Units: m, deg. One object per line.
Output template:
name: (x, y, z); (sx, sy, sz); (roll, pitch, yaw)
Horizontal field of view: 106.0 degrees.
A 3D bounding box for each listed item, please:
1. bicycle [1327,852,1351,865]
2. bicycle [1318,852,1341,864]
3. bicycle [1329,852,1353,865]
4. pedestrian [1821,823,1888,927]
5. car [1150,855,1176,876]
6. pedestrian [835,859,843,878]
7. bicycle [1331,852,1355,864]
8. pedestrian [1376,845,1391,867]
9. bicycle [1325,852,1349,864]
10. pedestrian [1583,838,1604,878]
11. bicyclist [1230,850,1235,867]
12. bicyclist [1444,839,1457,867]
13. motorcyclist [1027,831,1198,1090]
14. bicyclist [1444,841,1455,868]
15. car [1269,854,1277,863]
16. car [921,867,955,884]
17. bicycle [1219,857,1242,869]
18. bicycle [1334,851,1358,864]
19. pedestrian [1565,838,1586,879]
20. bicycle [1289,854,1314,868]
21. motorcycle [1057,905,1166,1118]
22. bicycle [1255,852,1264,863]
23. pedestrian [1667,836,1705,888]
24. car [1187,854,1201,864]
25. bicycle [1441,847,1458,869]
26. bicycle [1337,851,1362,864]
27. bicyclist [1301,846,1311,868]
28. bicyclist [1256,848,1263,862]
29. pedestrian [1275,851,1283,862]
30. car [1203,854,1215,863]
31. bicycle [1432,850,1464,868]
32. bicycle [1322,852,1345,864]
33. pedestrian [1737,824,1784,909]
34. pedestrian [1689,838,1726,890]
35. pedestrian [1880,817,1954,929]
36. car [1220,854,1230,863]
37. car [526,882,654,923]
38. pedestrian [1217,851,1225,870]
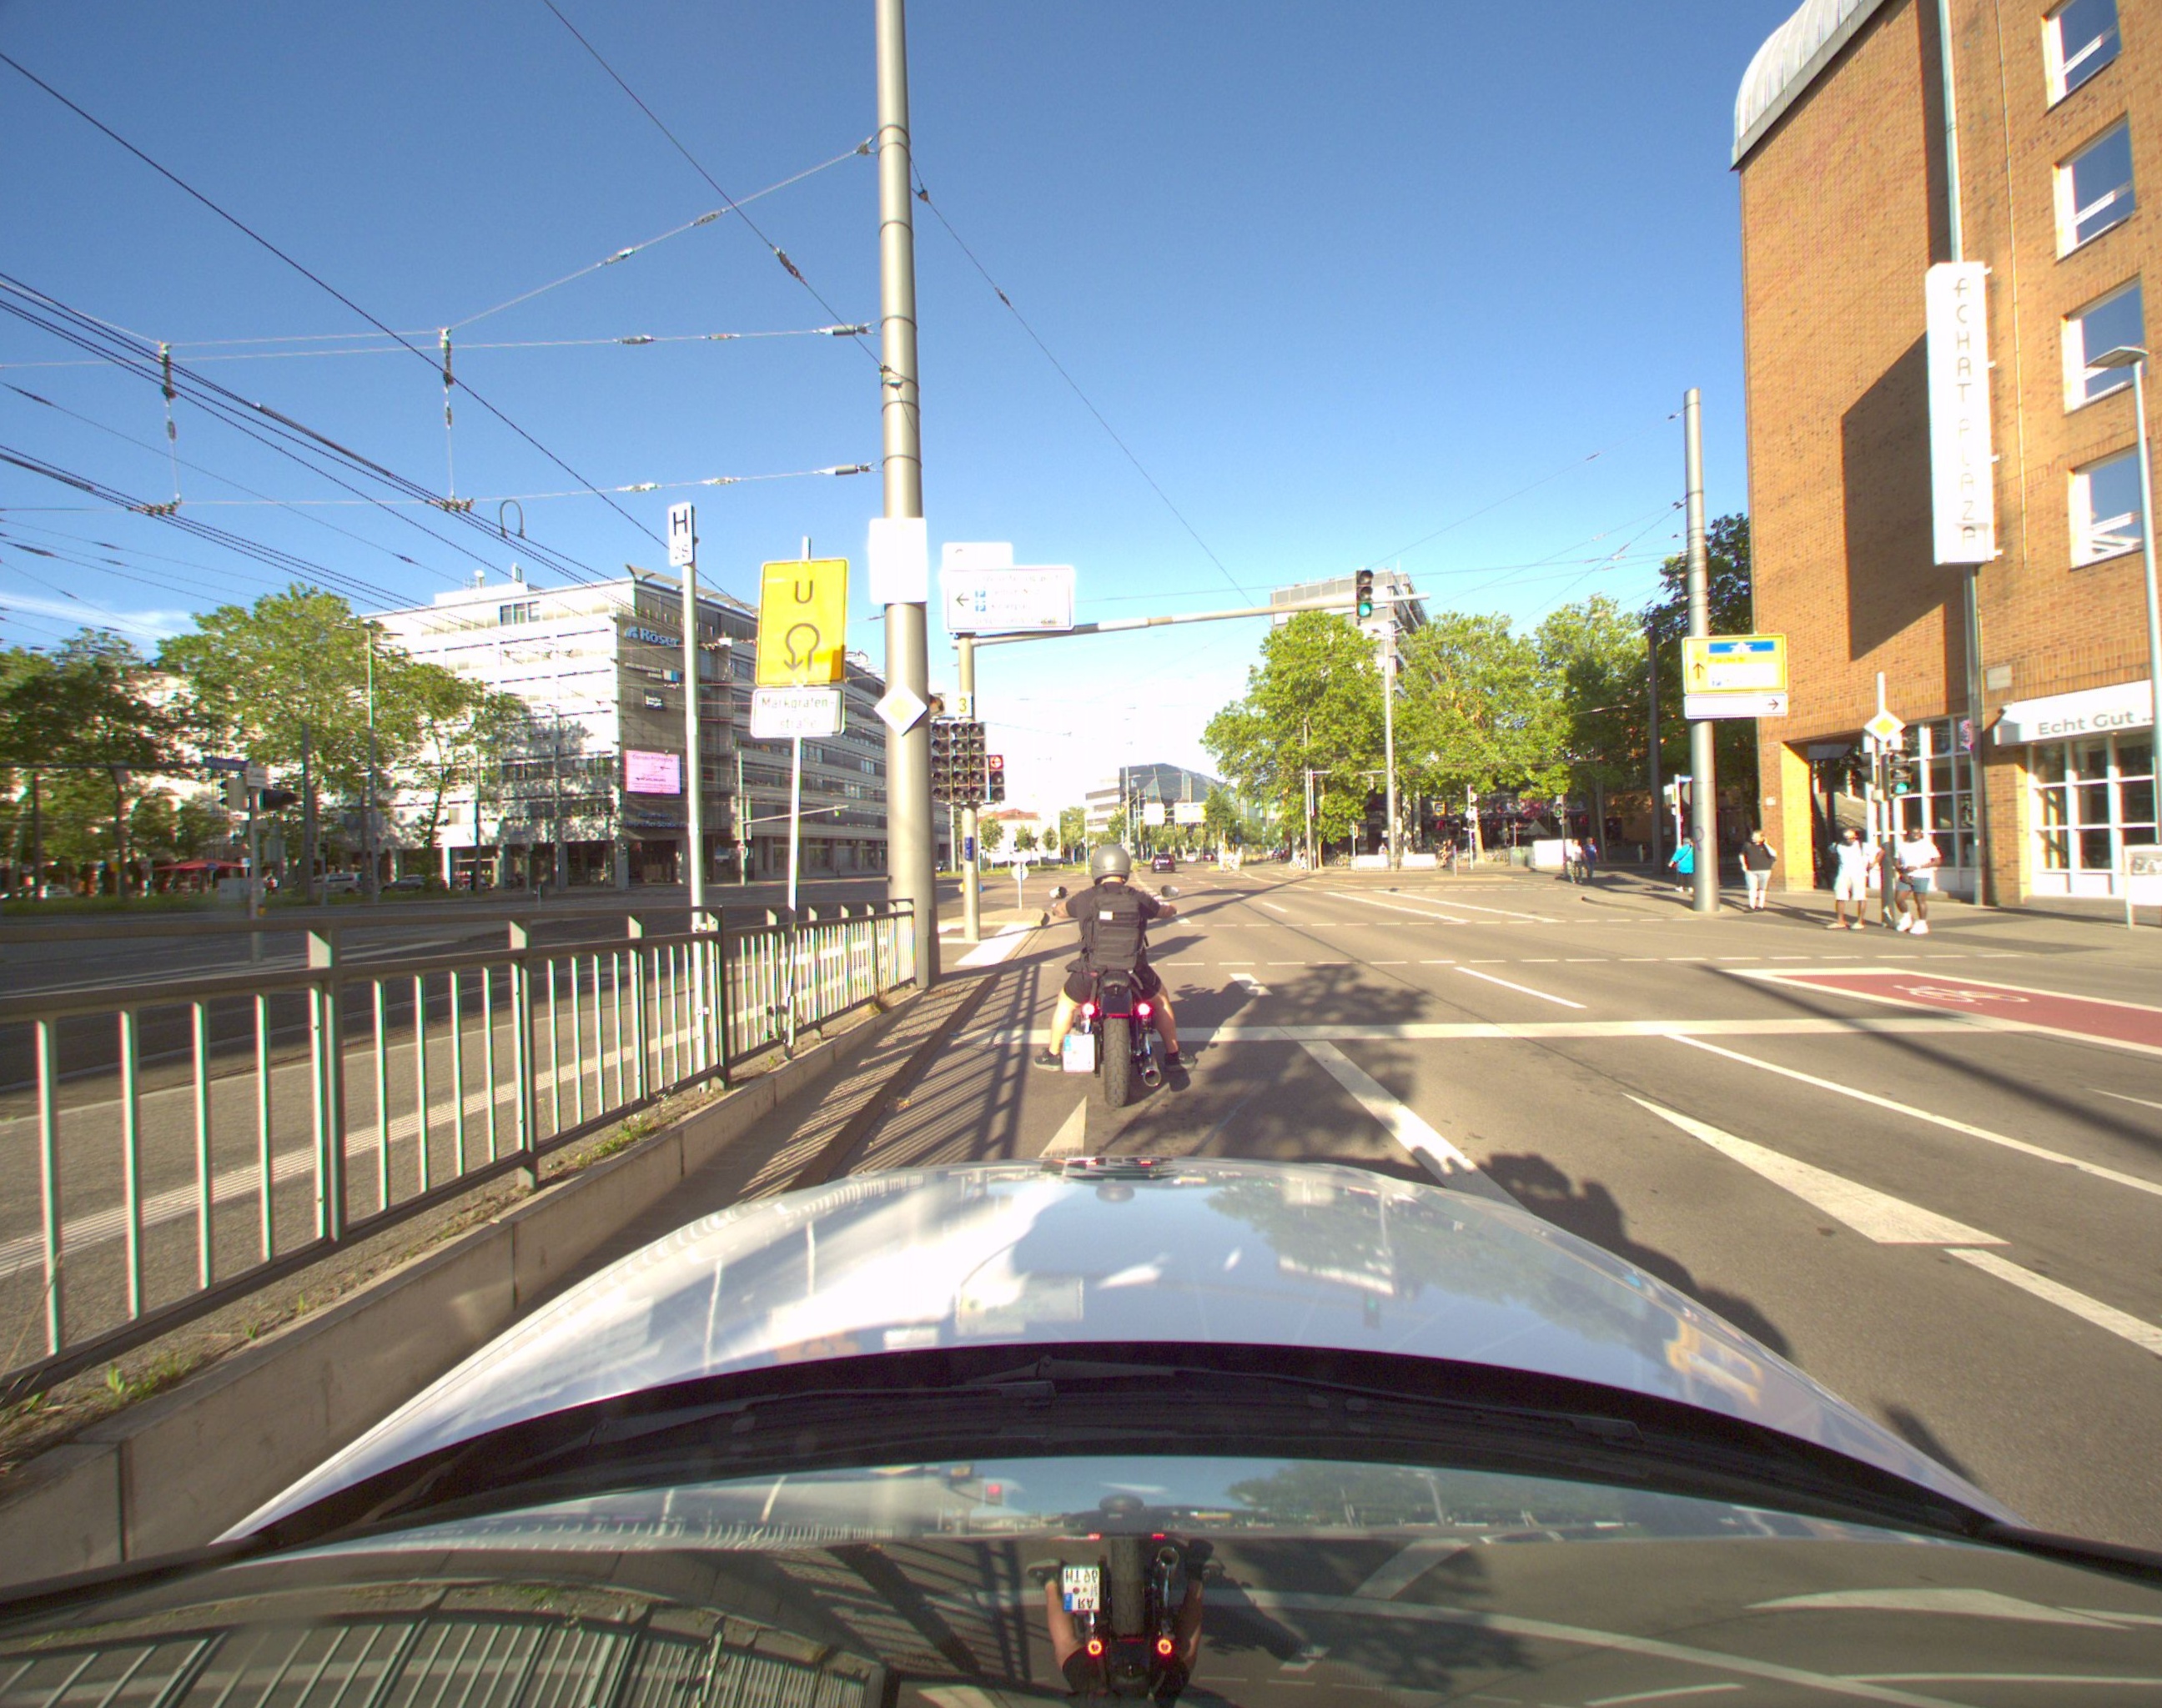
bicycle: (21.589, 0.356, 68.165); (1.874, 1.046, 0.360); (0, -1, 1)
bicycle: (21.421, 0.356, 70.304); (1.874, 1.046, 0.360); (0, 0, 1)
bicycle: (21.586, 0.348, 67.533); (1.874, 1.046, 0.360); (0, 0, 1)
pedestrian: (13.632, 0.370, 14.365); (0.587, 1.780, 0.685); (-3, -1, 24)
car: (6.720, 0.922, 66.638); (1.793, 1.595, 4.464); (-2, 0, 9)
pedestrian: (-25.855, 1.568, 86.936); (0.628, 2.014, 0.754); (0, -1, 2)
bicycle: (21.573, 0.329, 66.976); (1.874, 1.046, 0.360); (0, -1, 1)
pedestrian: (23.212, 0.180, 62.529); (0.829, 1.704, 0.760); (0, -1, 2)
bicycle: (21.598, 0.350, 68.651); (1.874, 1.046, 0.360); (0, 0, 1)
pedestrian: (19.282, 0.164, 30.649); (0.561, 1.479, 0.706); (-1, -1, 22)
bicyclist: (12.465, 0.392, 66.985); (0.380, 1.373, 0.344); (0, -1, -7)
bicyclist: (20.871, -0.054, 46.026); (0.561, 1.519, 0.636); (-1, -1, 17)
motorcyclist: (0.210, 0.666, 5.521); (1.027, 1.593, 0.874); (-2, 0, 1)
bicyclist: (25.389, 0.039, 56.137); (0.582, 1.837, 0.403); (0, -1, 1)
car: (39.772, 0.881, 168.868); (1.519, 1.838, 3.589); (-1, -1, 15)
car: (-13.826, 2.055, 79.049); (1.737, 1.524, 4.014); (-1, -1, 13)
bicycle: (12.257, 0.753, 66.954); (1.823, 0.925, 0.357); (0, -1, -7)
bicycle: (21.539, 0.305, 66.162); (1.874, 1.046, 0.360); (0, -1, 1)
pedestrian: (18.724, 0.163, 30.823); (0.561, 1.533, 0.706); (-1, -1, 22)
bicycle: (17.608, 0.564, 65.006); (1.854, 1.044, 0.540); (-1, -1, 20)
motorcycle: (0.204, 0.951, 5.653); (0.598, 1.036, 2.235); (0, 0, 2)
bicycle: (22.043, 0.468, 100.496); (0.722, 1.367, 2.922); (0, -1, 6)
pedestrian: (17.235, 0.232, 23.217); (0.590, 1.452, 0.601); (-2, -1, 2)
car: (18.348, 0.775, 132.190); (1.790, 1.430, 4.470); (-2, 0, 14)
bicycle: (20.847, 0.236, 46.067); (0.562, 1.178, 2.340); (-1, -1, 17)
bicycle: (21.529, 0.283, 65.380); (1.874, 1.046, 0.360); (0, -1, 1)
bicyclist: (17.902, 0.239, 64.906); (0.682, 1.673, 0.544); (-2, -2, 21)
bicyclist: (22.048, 0.127, 100.623); (0.693, 1.808, 0.730); (0, -1, 6)
pedestrian: (21.971, 0.280, 90.332); (0.814, 1.314, 0.640); (-1, -1, 11)
car: (22.655, 0.816, 144.401); (1.790, 1.678, 4.055); (0, -1, 14)
bicycle: (25.283, 0.349, 56.139); (2.034, 1.214, 0.421); (0, -1, 2)
bicycle: (21.414, 0.350, 69.153); (1.874, 1.046, 0.360); (0, 0, 1)
pedestrian: (14.560, 0.269, 17.450); (0.727, 1.792, 0.515); (-1, -1, 42)
pedestrian: (18.060, 0.284, 23.484); (0.590, 1.476, 0.552); (-2, -1, 2)
pedestrian: (13.826, 0.308, 13.475); (0.682, 1.780, 0.589); (-2, -1, -24)
car: (27.501, 0.882, 155.590); (1.717, 1.838, 3.589); (-1, -1, 14)
car: (-13.847, 1.357, 23.117); (2.884, 1.063, 1.235); (0, -1, -19)
pedestrian: (11.806, 0.541, 68.755); (0.587, 1.557, 0.488); (0, -1, -6)
